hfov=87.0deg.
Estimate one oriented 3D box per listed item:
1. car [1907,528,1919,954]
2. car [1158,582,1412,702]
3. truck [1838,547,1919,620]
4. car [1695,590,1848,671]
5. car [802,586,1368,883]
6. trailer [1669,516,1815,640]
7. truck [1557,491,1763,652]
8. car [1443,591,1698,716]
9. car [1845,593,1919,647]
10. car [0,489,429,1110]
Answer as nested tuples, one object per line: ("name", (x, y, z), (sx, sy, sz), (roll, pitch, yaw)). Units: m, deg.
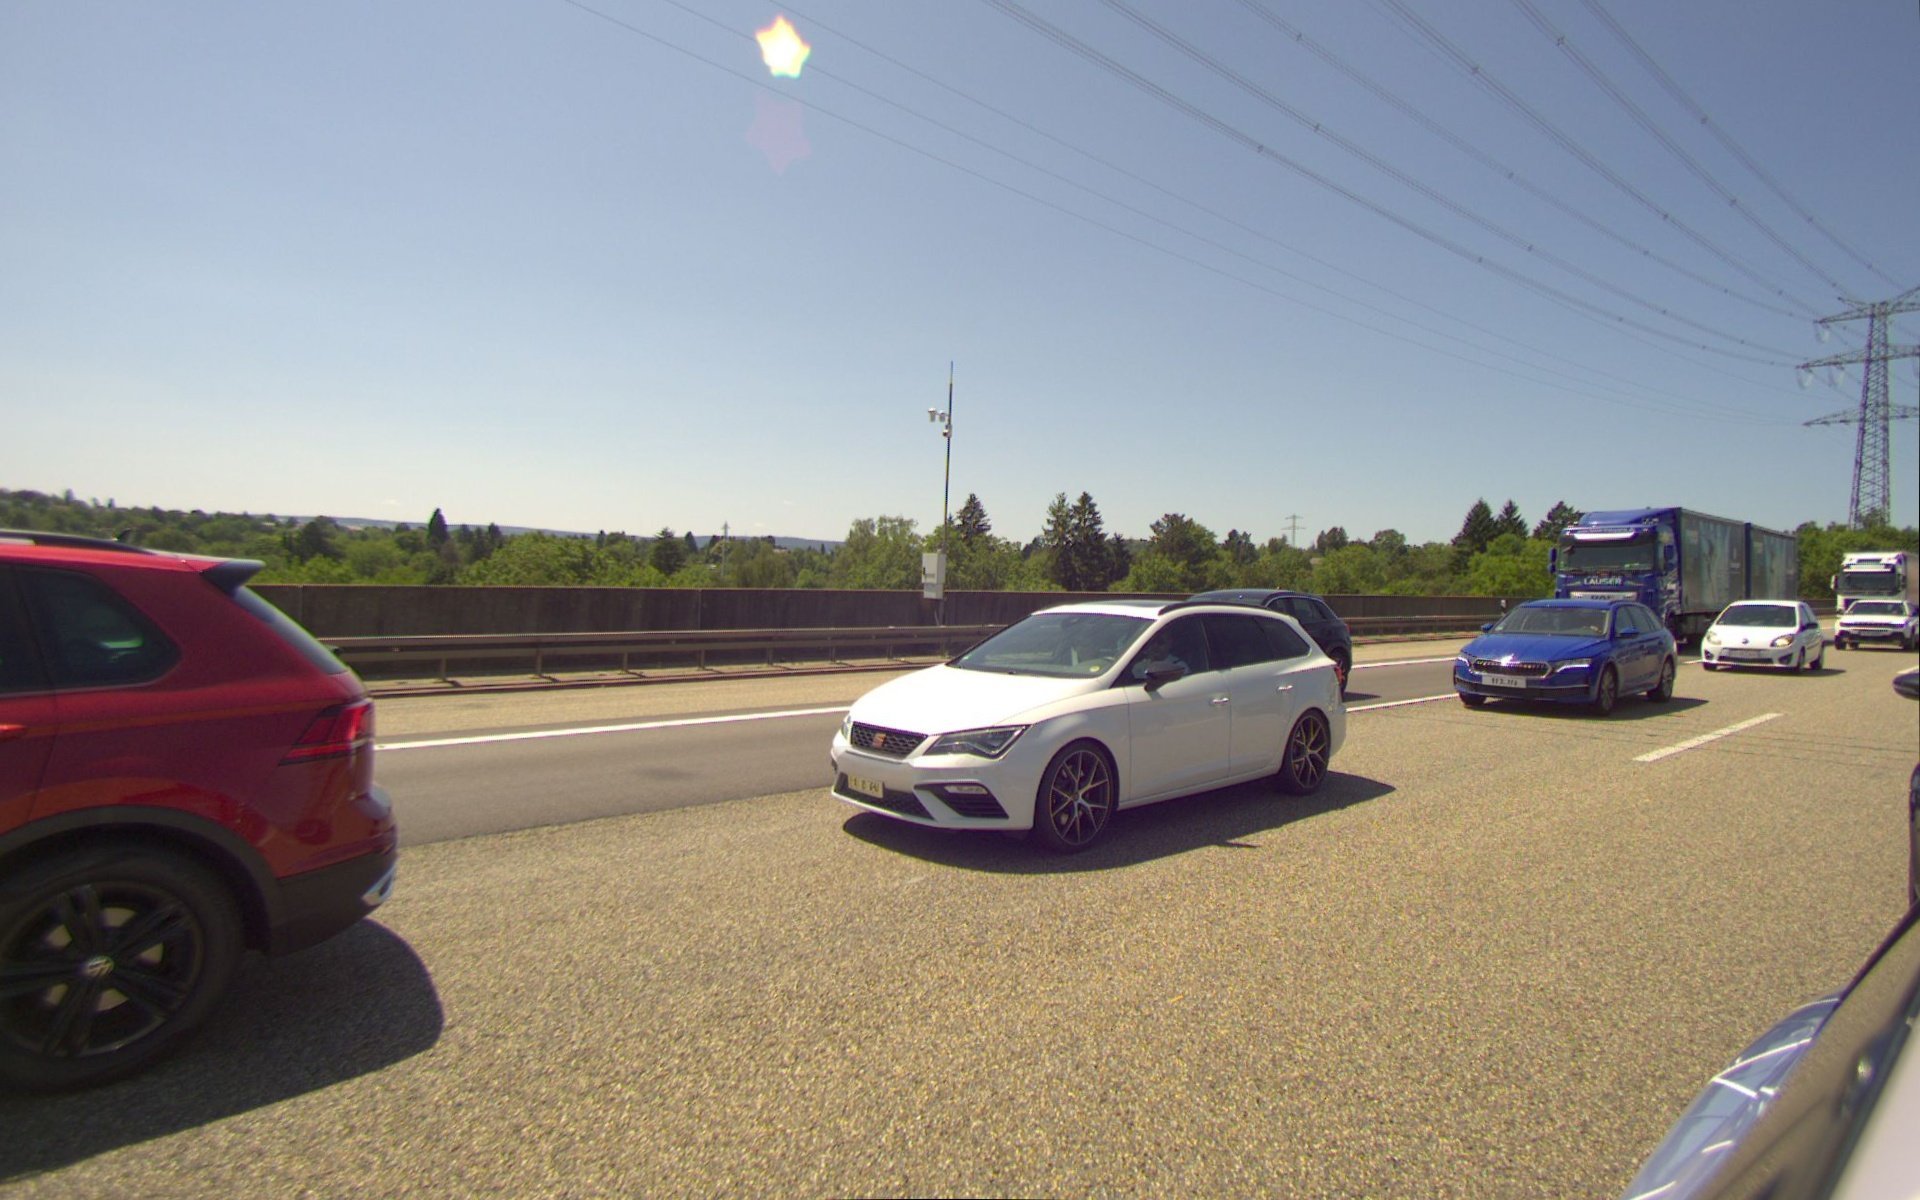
("car", (5.806, 0.553, 4.667), (3.930, 1.683, 1.738), (0, 0, -41))
("car", (4.889, 0.525, 14.968), (4.034, 1.546, 1.739), (0, 0, -41))
("truck", (50.855, -0.862, 55.226), (10.776, 3.604, 2.983), (0, 0, -41))
("car", (17.256, 0.583, 21.461), (4.021, 1.522, 1.762), (0, 1, -40))
("car", (1.074, 0.670, 7.175), (4.003, 1.508, 1.841), (0, 0, -42))
("trailer", (28.188, -0.667, 36.311), (8.330, 3.995, 2.570), (1, 0, -41))
("truck", (21.136, -0.766, 30.212), (10.263, 4.118, 2.527), (0, 0, -41))
("car", (8.505, 0.630, 13.958), (4.135, 1.463, 1.739), (0, 1, -40))
("car", (28.274, 0.568, 30.628), (4.024, 1.522, 1.761), (0, 1, -42))
("car", (-3.944, 0.525, 2.740), (4.151, 1.683, 1.778), (0, 1, -41))
